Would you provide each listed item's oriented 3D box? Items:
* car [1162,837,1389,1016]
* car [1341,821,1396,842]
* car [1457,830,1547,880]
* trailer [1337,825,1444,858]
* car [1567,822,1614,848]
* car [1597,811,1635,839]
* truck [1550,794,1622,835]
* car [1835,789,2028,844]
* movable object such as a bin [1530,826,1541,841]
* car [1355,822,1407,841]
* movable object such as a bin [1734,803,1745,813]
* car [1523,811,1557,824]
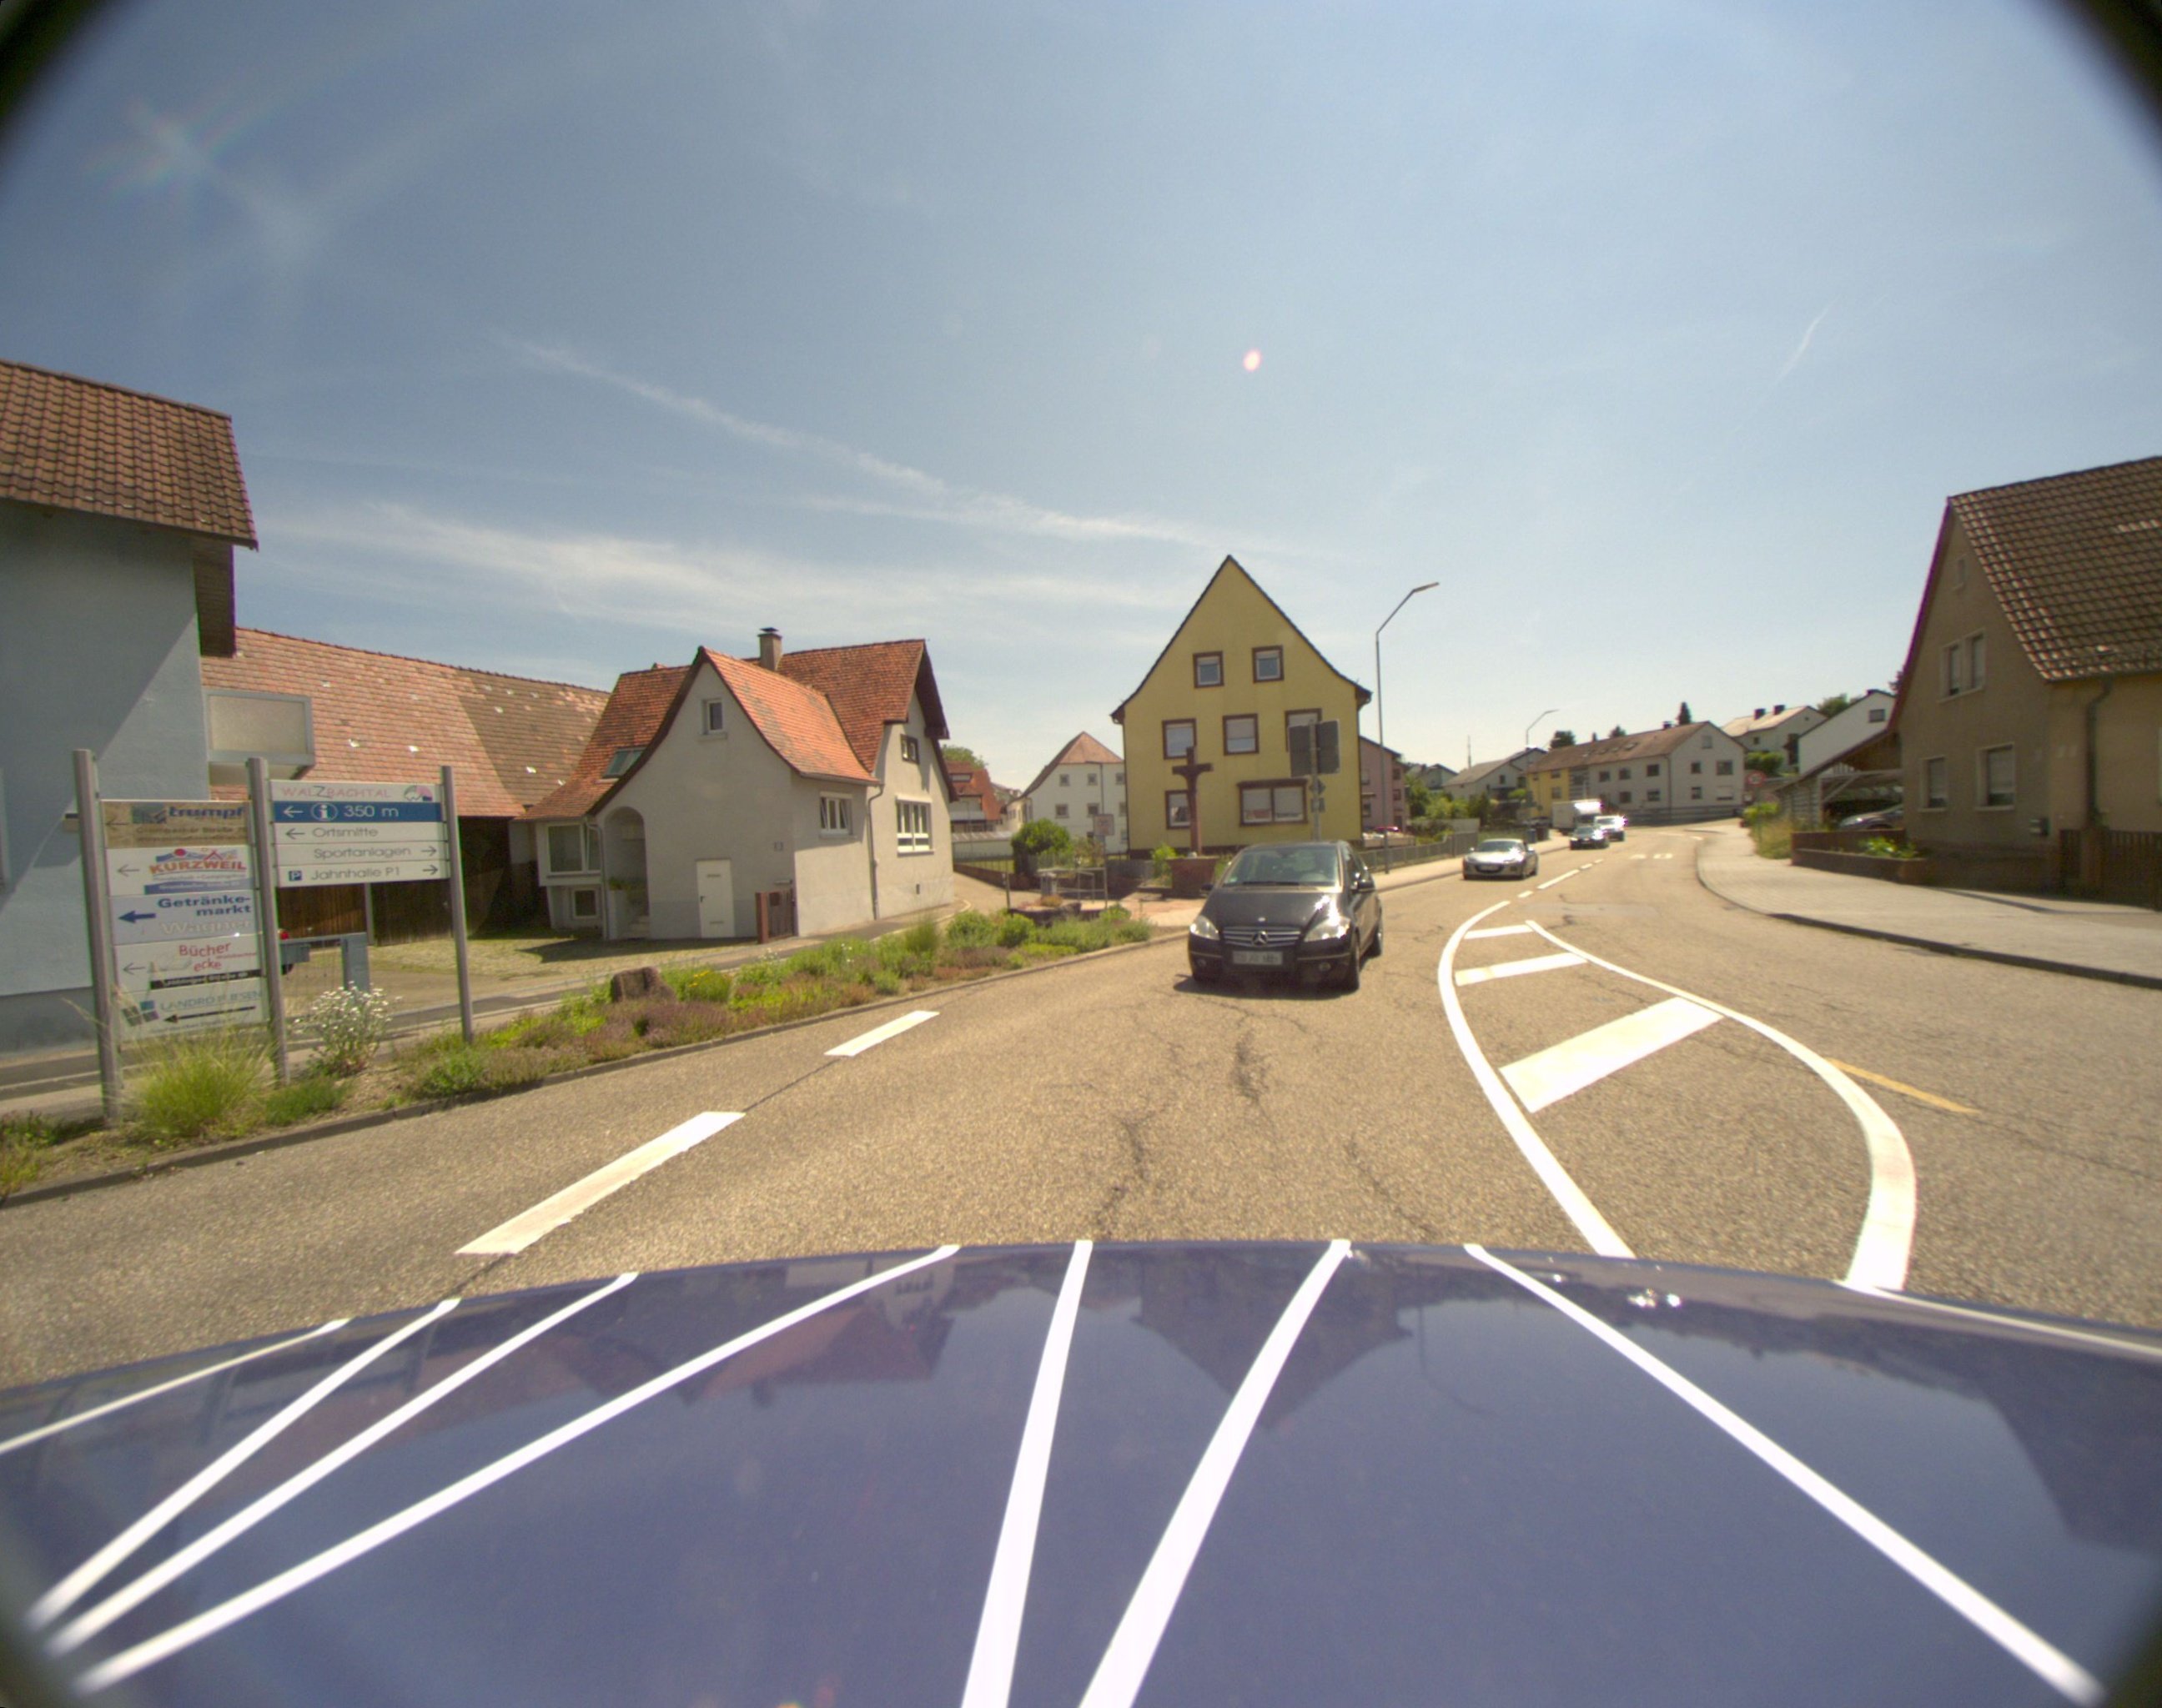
[{"bbox_3d":[2.604,0.669,9.298,1.761,1.583,4.204,-2,1,27],"label":"car"},{"bbox_3d":[24.620,-1.927,65.205,4.118,1.539,1.852,-3,2,12],"label":"car"},{"bbox_3d":[13.572,-0.003,24.407,1.810,1.307,4.007,-2,2,39],"label":"car"},{"bbox_3d":[17.830,-0.758,44.052,5.356,1.537,2.139,-3,2,11],"label":"trailer"},{"bbox_3d":[30.624,-1.151,45.617,1.893,1.368,4.007,-3,1,40],"label":"car"},{"bbox_3d":[40.497,-2.194,57.471,1.864,1.897,5.046,-3,1,40],"label":"car"},{"bbox_3d":[49.816,-3.805,75.230,3.200,3.579,8.314,-3,1,14],"label":"truck"},{"bbox_3d":[28.485,-1.240,25.681,4.126,1.629,1.868,0,3,41],"label":"car"},{"bbox_3d":[33.167,-1.524,55.444,0.565,1.052,0.652,-2,3,24],"label":"movable object such as a bin"},{"bbox_3d":[24.657,-1.840,62.590,3.830,1.478,1.763,-1,2,16],"label":"car"},{"bbox_3d":[70.159,-4.892,80.951,0.600,0.929,0.600,-3,2,-6],"label":"movable object such as a bin"},{"bbox_3d":[61.256,-4.809,101.511,1.735,1.543,4.185,-4,2,-4],"label":"car"}]
